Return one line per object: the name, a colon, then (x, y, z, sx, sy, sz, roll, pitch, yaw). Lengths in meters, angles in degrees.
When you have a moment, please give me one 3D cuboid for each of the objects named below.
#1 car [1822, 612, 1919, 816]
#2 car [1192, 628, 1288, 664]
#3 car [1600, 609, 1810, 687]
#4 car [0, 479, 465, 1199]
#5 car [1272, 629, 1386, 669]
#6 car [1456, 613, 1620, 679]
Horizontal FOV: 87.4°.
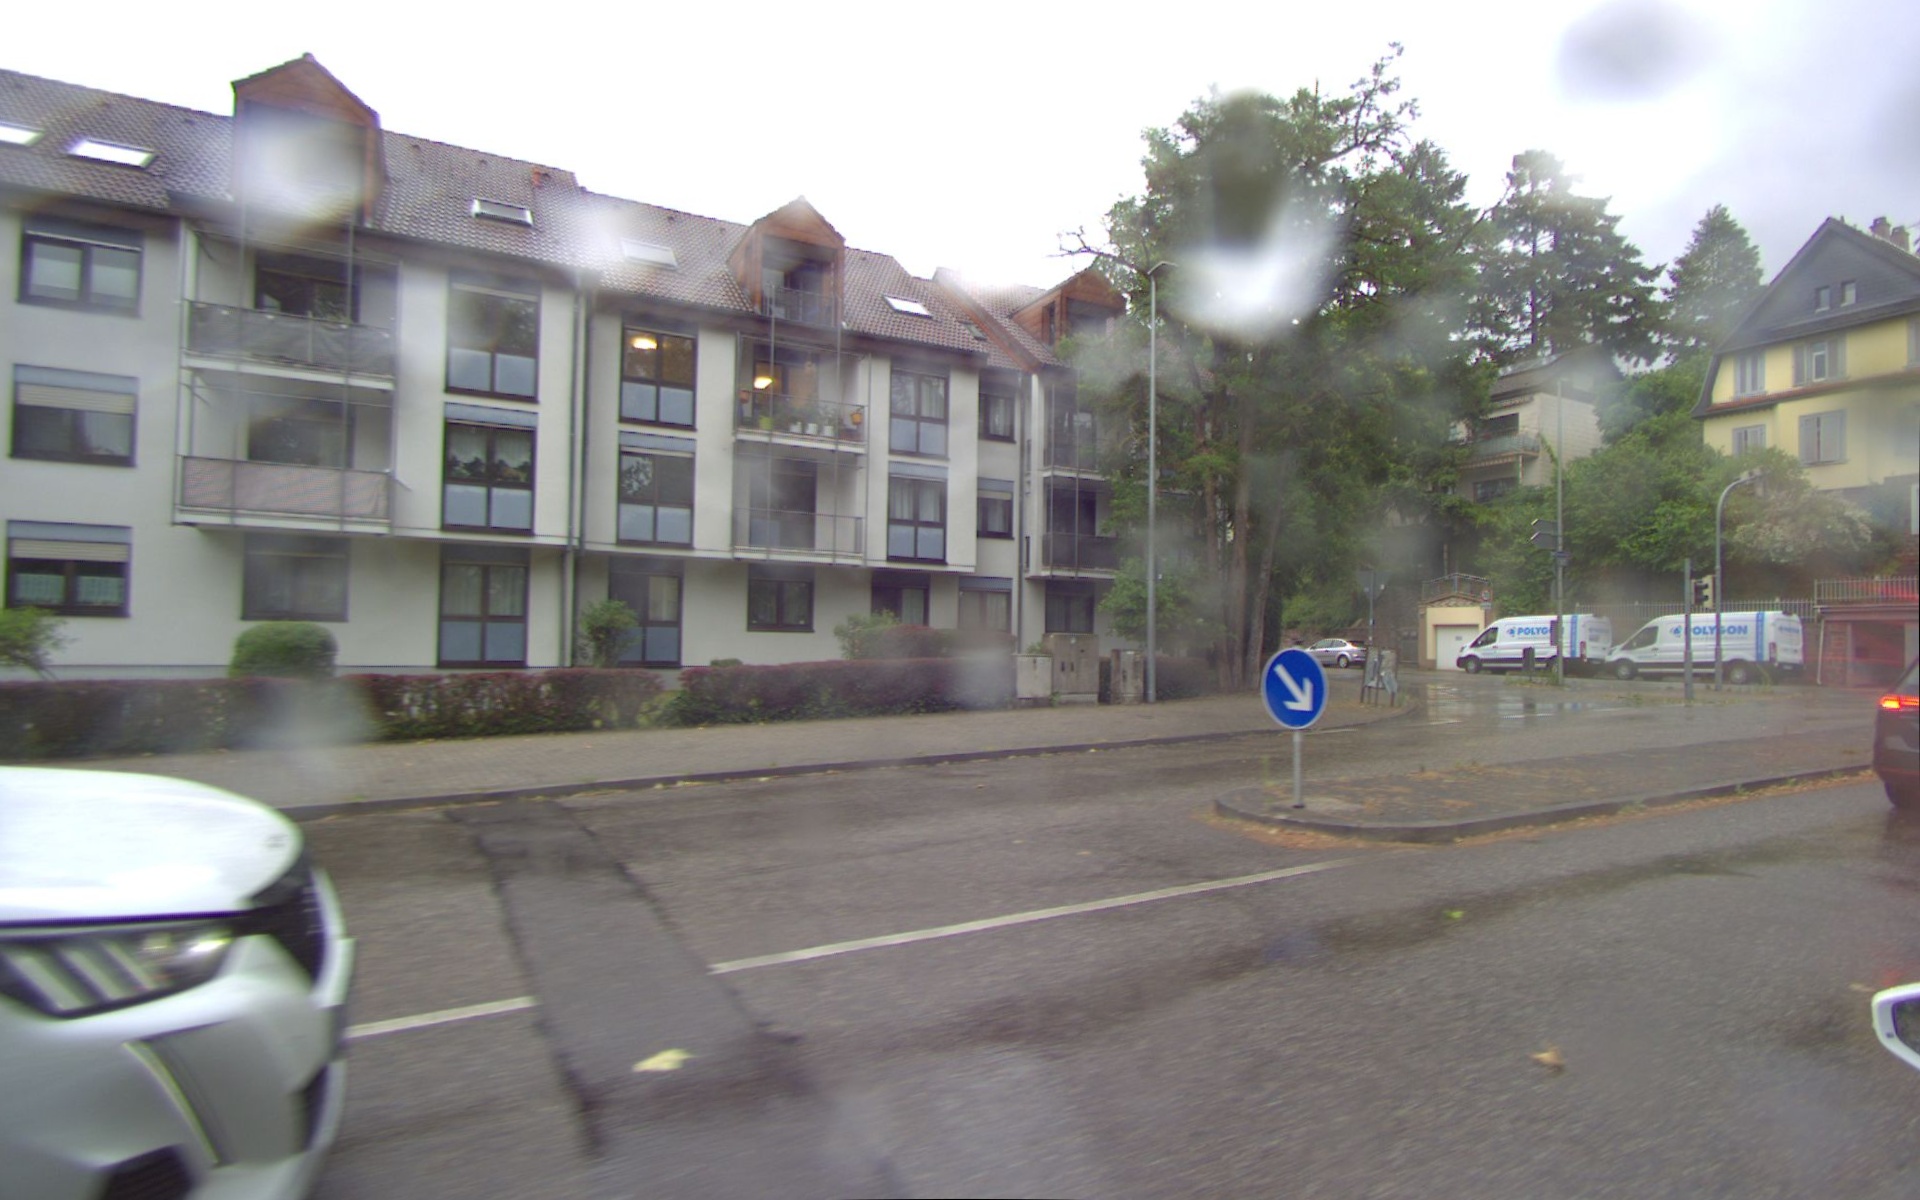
car: (9.192, 0.862, 8.226, 4.603, 1.476, 1.823, 0, 1, -30)
car: (15.871, 2.604, 57.223, 2.083, 1.878, 5.543, 3, -2, -27)
car: (26.415, 1.657, 35.888, 2.286, 2.527, 5.640, 3, -2, -27)
car: (-3.175, 0.603, 1.469, 4.315, 1.556, 1.745, 1, -3, -29)
car: (18.741, 2.461, 51.326, 2.083, 1.878, 5.543, 3, -2, -27)
car: (23.725, 1.836, 41.480, 2.286, 2.527, 5.543, 3, -2, -27)
